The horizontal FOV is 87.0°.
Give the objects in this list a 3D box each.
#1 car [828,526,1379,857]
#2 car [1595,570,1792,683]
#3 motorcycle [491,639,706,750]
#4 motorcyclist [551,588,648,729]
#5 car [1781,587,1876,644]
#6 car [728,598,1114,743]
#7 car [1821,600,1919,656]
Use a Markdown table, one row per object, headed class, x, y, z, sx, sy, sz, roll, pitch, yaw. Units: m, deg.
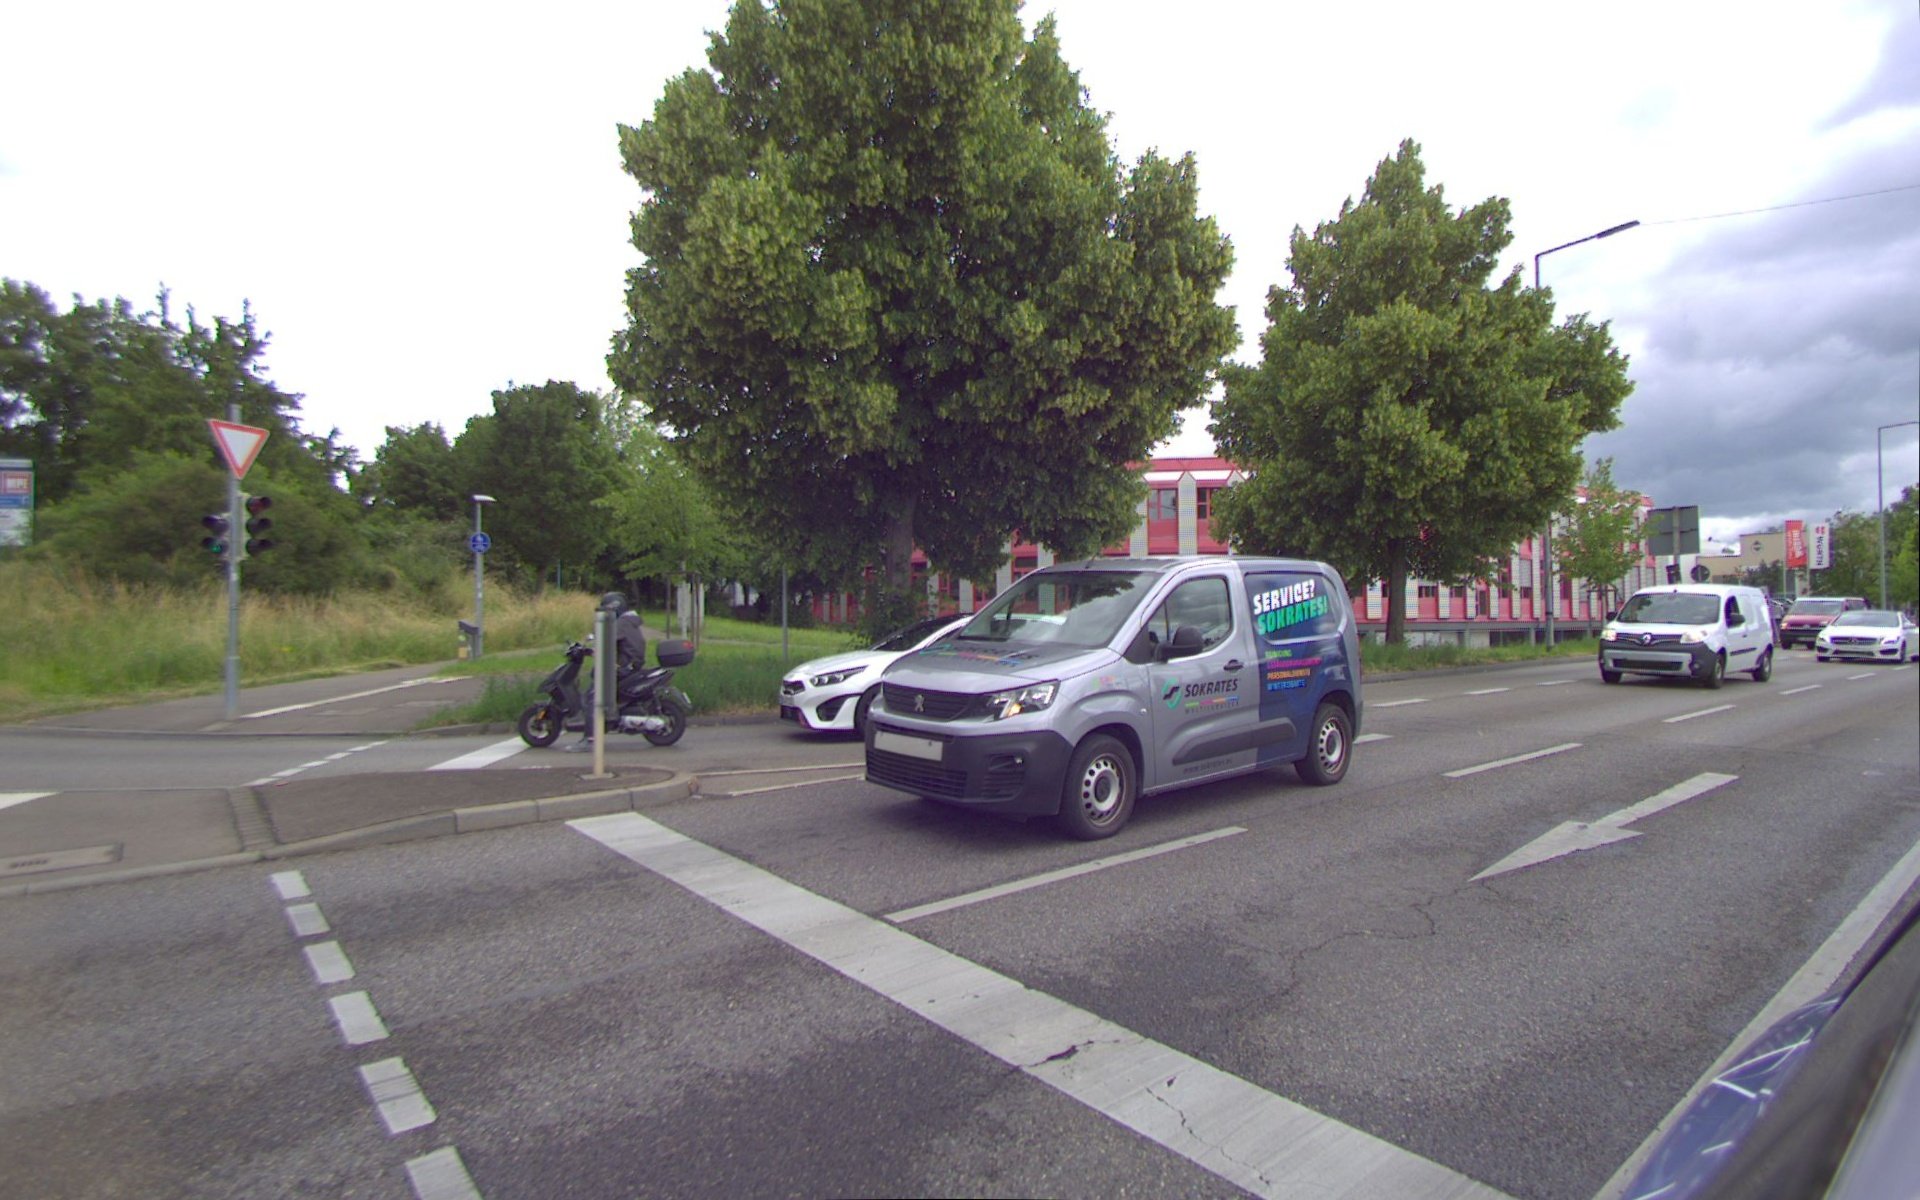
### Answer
| class | x | y | z | sx | sy | sz | roll | pitch | yaw |
| --- | --- | --- | --- | --- | --- | --- | --- | --- | --- |
| car | 1.251 | 0.478 | 7.568 | 4.148 | 1.802 | 1.812 | 0 | 0 | -41 |
| car | 13.481 | 0.460 | 18.493 | 4.612 | 1.815 | 1.813 | 1 | -1 | -39 |
| motorcycle | -3.786 | 0.977 | 10.744 | 2.028 | 1.104 | 0.760 | 0 | -1 | -5 |
| motorcyclist | -3.818 | 0.601 | 10.766 | 0.801 | 1.440 | 0.760 | 0 | -1 | -5 |
| car | 32.862 | 0.614 | 38.244 | 4.376 | 1.930 | 2.181 | 4 | -2 | -42 |
| car | -0.386 | 0.747 | 12.393 | 4.428 | 1.438 | 1.835 | -1 | -2 | -35 |
| car | 25.222 | 0.799 | 27.474 | 4.140 | 1.358 | 1.815 | 4 | -2 | -35 |
